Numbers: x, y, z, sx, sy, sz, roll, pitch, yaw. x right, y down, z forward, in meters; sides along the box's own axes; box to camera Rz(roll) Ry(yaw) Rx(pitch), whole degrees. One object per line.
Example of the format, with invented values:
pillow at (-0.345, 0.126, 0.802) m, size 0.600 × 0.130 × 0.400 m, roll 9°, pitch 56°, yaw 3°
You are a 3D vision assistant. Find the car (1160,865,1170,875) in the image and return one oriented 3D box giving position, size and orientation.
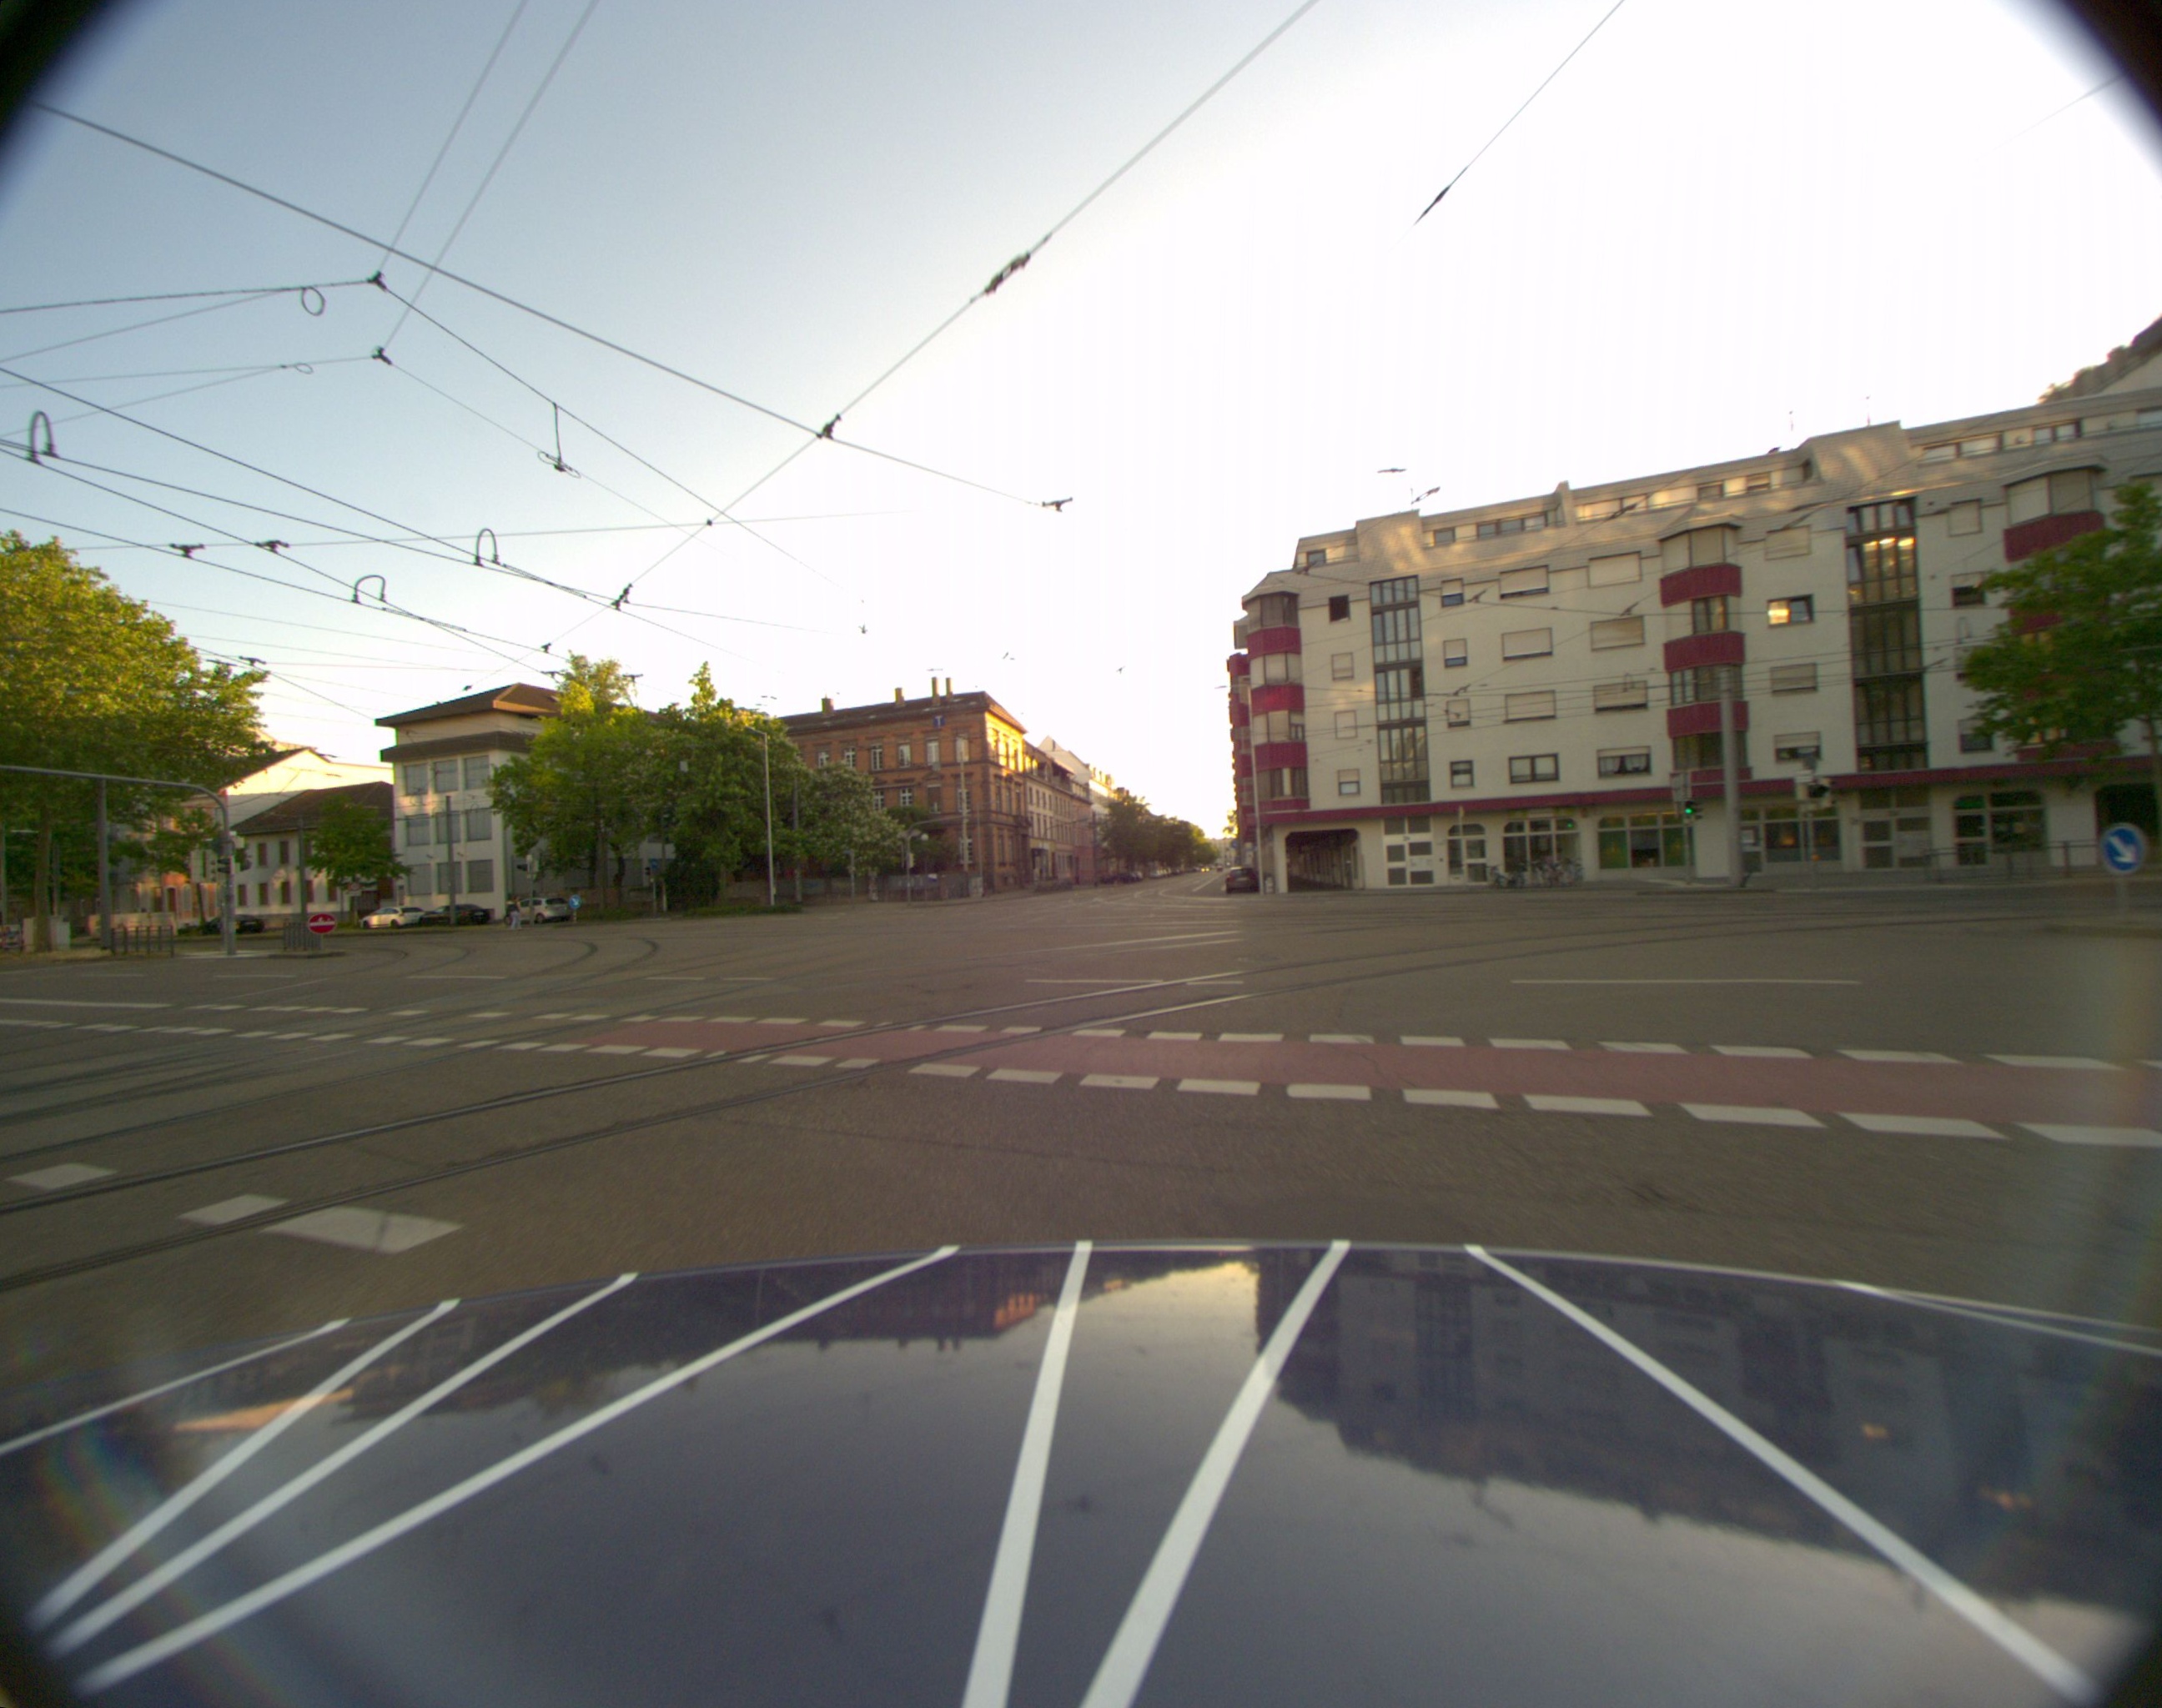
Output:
car at (16.936, 3.247, 152.427) m, size 1.784 × 1.828 × 4.300 m, roll -3°, pitch -1°, yaw 8°

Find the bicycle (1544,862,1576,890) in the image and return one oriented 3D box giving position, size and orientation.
bicycle at (18.771, 0.858, 29.827) m, size 0.514 × 1.040 × 1.905 m, roll -3°, pitch -1°, yaw 16°

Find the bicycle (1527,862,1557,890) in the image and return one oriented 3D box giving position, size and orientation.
bicycle at (18.214, 0.868, 30.048) m, size 0.514 × 1.040 × 1.905 m, roll -3°, pitch -1°, yaw 16°

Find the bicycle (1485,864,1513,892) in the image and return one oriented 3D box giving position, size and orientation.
bicycle at (16.723, 0.942, 30.422) m, size 0.514 × 1.040 × 1.905 m, roll -3°, pitch -1°, yaw 16°

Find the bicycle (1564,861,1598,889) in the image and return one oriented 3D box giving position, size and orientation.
bicycle at (19.317, 0.796, 29.392) m, size 0.514 × 1.040 × 1.905 m, roll -3°, pitch -1°, yaw 16°

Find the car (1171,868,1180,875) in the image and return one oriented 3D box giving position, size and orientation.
car at (21.805, 4.069, 175.550) m, size 1.784 × 1.426 × 4.300 m, roll -3°, pitch -1°, yaw 8°

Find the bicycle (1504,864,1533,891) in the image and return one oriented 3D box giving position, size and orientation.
bicycle at (17.384, 0.912, 30.239) m, size 0.514 × 1.040 × 1.905 m, roll -3°, pitch -1°, yaw 16°

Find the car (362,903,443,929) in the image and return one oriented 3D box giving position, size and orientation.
car at (-44.786, 4.070, 50.174) m, size 4.224 × 1.415 × 2.003 m, roll -4°, pitch -1°, yaw 17°

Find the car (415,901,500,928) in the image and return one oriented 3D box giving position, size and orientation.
car at (-39.524, 3.834, 48.173) m, size 4.352 × 1.415 × 2.003 m, roll -4°, pitch -1°, yaw 17°

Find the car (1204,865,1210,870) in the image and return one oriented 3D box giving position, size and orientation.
car at (38.811, 4.092, 233.977) m, size 1.784 × 1.448 × 4.301 m, roll -3°, pitch -1°, yaw 11°

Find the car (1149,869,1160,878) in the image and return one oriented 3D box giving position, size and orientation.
car at (12.685, 3.420, 130.878) m, size 1.784 × 1.448 × 4.300 m, roll -3°, pitch -1°, yaw 8°

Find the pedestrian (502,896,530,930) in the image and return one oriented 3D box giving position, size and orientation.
pedestrian at (-25.971, 2.697, 34.916) m, size 0.579 × 1.517 × 0.818 m, roll -3°, pitch -1°, yaw 23°

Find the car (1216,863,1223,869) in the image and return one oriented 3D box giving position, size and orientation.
car at (38.673, 3.296, 211.671) m, size 1.784 × 1.448 × 4.301 m, roll -3°, pitch -1°, yaw 10°

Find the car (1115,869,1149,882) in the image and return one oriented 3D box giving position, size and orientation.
car at (7.227, 3.026, 107.440) m, size 4.699 × 1.477 × 1.909 m, roll -3°, pitch -1°, yaw 7°

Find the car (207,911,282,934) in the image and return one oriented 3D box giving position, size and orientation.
car at (-61.064, 4.982, 55.463) m, size 4.224 × 1.415 × 2.003 m, roll -4°, pitch -1°, yaw 17°

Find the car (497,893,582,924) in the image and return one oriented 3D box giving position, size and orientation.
car at (-33.123, 3.342, 46.516) m, size 4.224 × 1.622 × 2.003 m, roll -3°, pitch -1°, yaw 17°

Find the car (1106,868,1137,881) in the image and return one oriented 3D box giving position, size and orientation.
car at (5.333, 2.737, 99.880) m, size 3.769 × 1.477 × 1.909 m, roll -3°, pitch -1°, yaw 7°

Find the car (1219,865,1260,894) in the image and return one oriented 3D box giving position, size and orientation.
car at (9.136, 1.429, 43.643) m, size 2.004 × 1.448 × 4.302 m, roll -3°, pitch -1°, yaw 15°
